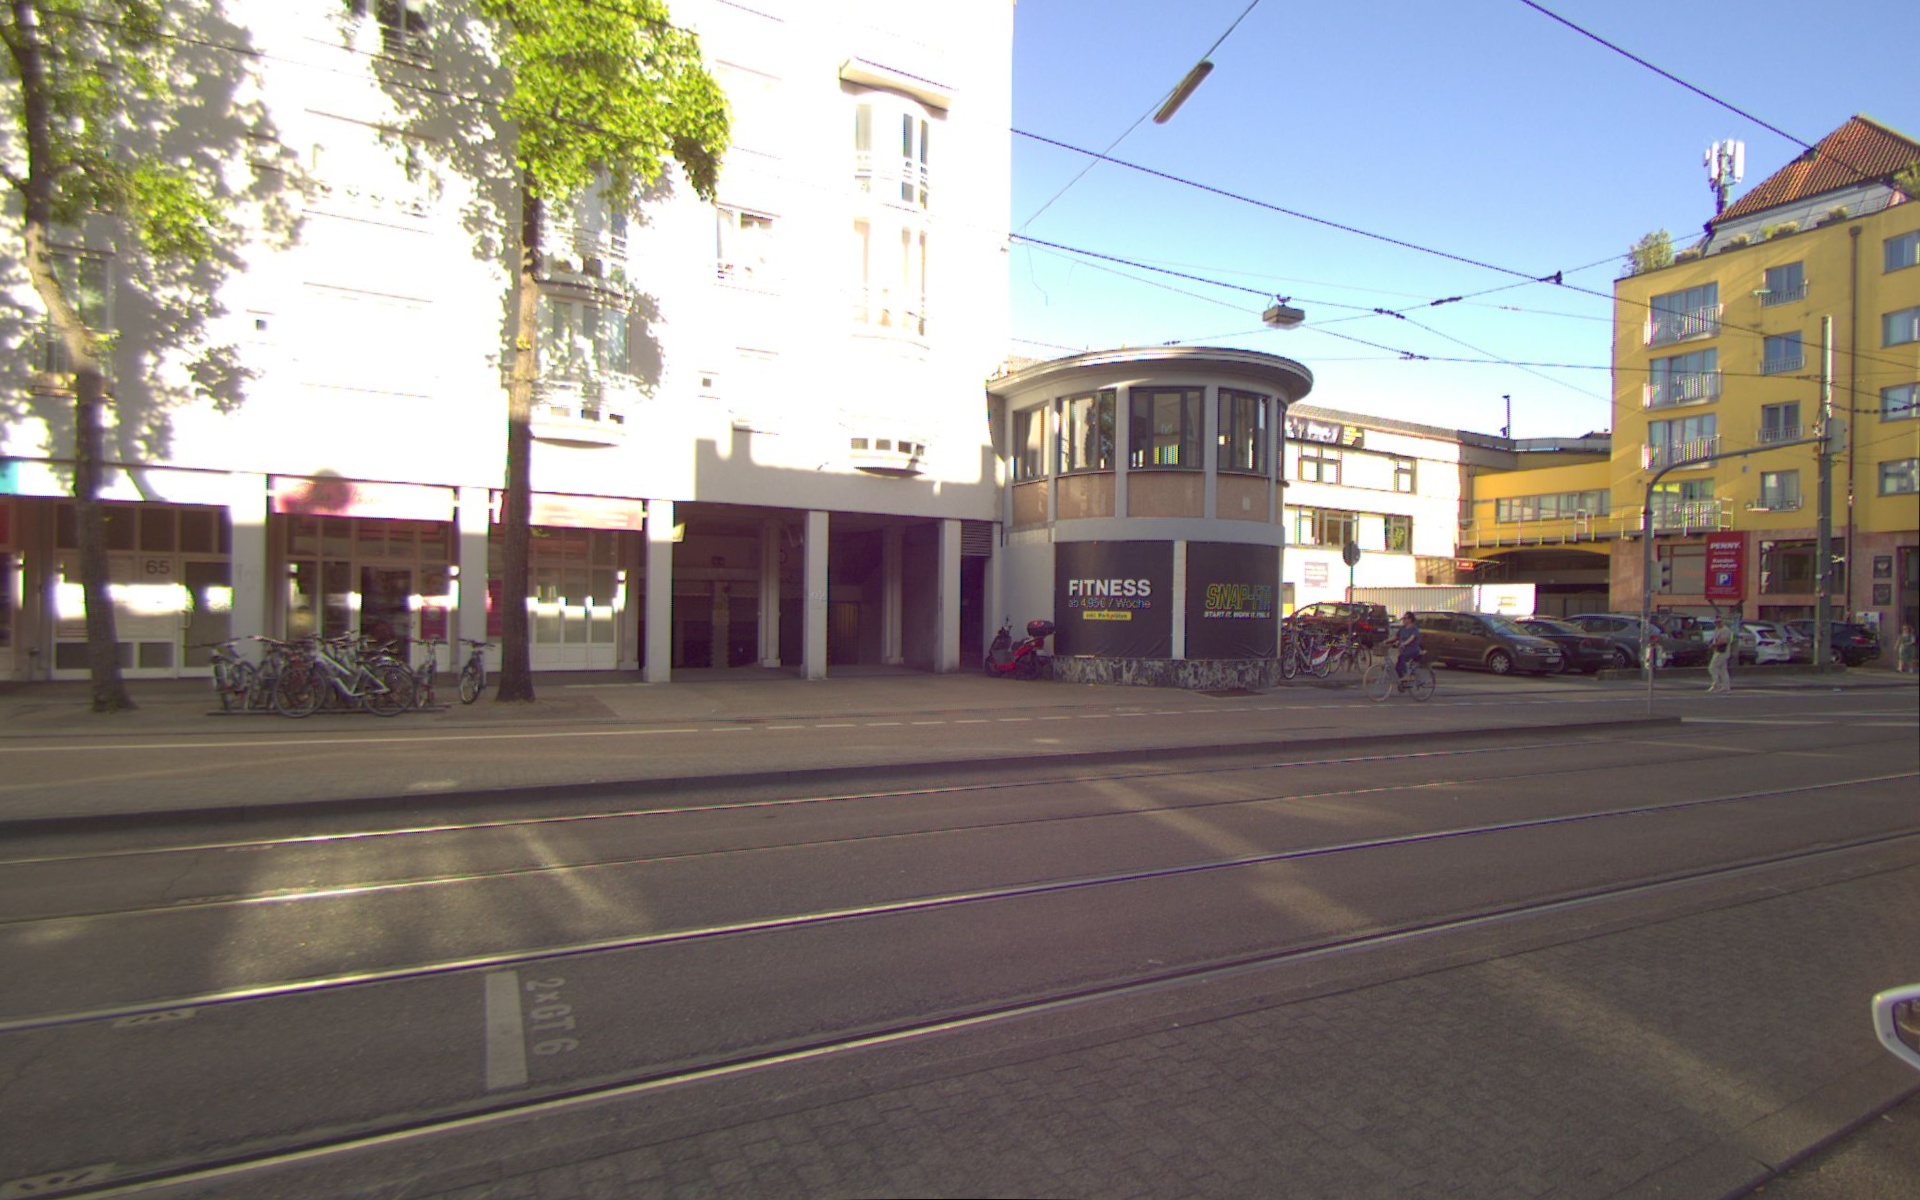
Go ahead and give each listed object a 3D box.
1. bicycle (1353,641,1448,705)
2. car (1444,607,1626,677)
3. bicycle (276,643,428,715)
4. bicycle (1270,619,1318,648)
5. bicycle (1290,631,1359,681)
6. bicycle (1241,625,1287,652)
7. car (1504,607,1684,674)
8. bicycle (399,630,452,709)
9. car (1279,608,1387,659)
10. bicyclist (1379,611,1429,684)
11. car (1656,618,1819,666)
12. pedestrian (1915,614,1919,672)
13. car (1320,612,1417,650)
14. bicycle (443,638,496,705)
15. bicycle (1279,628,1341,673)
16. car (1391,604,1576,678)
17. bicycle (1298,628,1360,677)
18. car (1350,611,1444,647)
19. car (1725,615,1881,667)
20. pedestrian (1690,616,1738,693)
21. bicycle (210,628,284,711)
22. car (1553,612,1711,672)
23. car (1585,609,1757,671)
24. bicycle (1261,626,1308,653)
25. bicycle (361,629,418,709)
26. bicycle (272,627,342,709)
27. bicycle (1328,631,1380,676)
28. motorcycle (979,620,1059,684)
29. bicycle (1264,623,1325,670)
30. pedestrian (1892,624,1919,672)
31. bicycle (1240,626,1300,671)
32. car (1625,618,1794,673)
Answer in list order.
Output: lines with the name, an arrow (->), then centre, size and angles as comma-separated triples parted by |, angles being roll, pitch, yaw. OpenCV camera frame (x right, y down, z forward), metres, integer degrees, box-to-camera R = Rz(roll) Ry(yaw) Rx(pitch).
bicycle -> 8.497, 1.388, 19.370 | 1.978, 1.138, 0.561 | 1, 0, -28
car -> 16.276, 1.136, 28.655 | 1.764, 1.836, 4.214 | 1, -1, -29
bicycle -> -8.371, 1.079, 13.895 | 1.727, 0.944, 0.469 | 1, 0, -21
bicycle -> 12.301, 1.237, 36.934 | 2.040, 1.028, 0.506 | 1, 0, -33
bicycle -> 8.074, 1.230, 22.231 | 1.862, 1.050, 0.520 | 1, -1, -38
bicycle -> 11.834, 1.498, 39.039 | 2.040, 1.028, 0.501 | 1, -1, -33
car -> 18.758, 1.134, 29.919 | 1.764, 1.836, 4.214 | 1, -1, -29
bicycle -> -8.109, 1.021, 15.280 | 0.458, 1.091, 1.870 | 1, -1, -21
car -> 14.028, 1.226, 37.928 | 1.677, 1.772, 3.559 | 1, 0, -31
bicyclist -> 8.571, 0.910, 19.393 | 0.709, 1.379, 0.560 | 1, 0, -27
car -> 27.265, 1.446, 35.376 | 1.764, 1.568, 4.214 | 3, -3, -29
pedestrian -> 33.224, 1.475, 34.356 | 0.701, 1.972, 0.634 | 1, 0, -31
car -> 17.268, 1.262, 42.595 | 1.609, 1.501, 3.617 | 0, 0, -31
bicycle -> -7.696, 1.098, 15.812 | 0.561, 0.944, 1.746 | 1, -1, -20
bicycle -> 8.441, 1.201, 24.176 | 1.862, 1.050, 0.460 | 1, -1, -38
car -> 14.248, 1.066, 27.600 | 1.764, 1.787, 4.214 | 1, 0, -29
bicycle -> 8.727, 1.219, 23.704 | 1.862, 1.094, 0.460 | 1, -1, -38
car -> 19.556, 1.275, 45.035 | 1.677, 1.499, 3.559 | -1, 0, -31
car -> 32.000, 1.512, 38.238 | 1.764, 1.836, 4.214 | 1, -1, -29
pedestrian -> 17.833, 1.271, 23.757 | 0.773, 1.787, 0.708 | 1, 0, -37
bicycle -> -10.328, 0.976, 14.606 | 0.504, 1.091, 1.868 | 1, -1, -24
car -> 20.786, 1.254, 31.209 | 1.764, 1.695, 3.673 | 1, 0, -29
car -> 22.917, 1.273, 32.541 | 1.764, 1.835, 4.214 | 3, -3, -29
bicycle -> 12.360, 1.495, 38.208 | 2.040, 1.028, 0.510 | 1, -1, -33
bicycle -> -8.623, 1.014, 15.233 | 0.458, 1.091, 1.870 | 1, -1, -21
bicycle -> -9.608, 0.968, 14.826 | 0.458, 1.091, 1.870 | 1, -1, -21
bicycle -> 9.808, 1.319, 25.072 | 0.417, 1.050, 1.878 | 1, -1, -5
motorcycle -> 1.257, 1.105, 21.817 | 0.668, 1.280, 1.969 | 1, 0, -35
bicycle -> 8.233, 1.132, 24.702 | 1.862, 1.102, 0.460 | 1, -1, -38
pedestrian -> 33.069, 1.671, 35.119 | 0.493, 1.639, 0.569 | 1, 0, -31
bicycle -> 7.803, 1.213, 25.248 | 1.862, 1.091, 0.460 | 1, -1, -38
car -> 25.074, 1.492, 33.769 | 1.764, 1.630, 4.214 | 3, -2, -29
